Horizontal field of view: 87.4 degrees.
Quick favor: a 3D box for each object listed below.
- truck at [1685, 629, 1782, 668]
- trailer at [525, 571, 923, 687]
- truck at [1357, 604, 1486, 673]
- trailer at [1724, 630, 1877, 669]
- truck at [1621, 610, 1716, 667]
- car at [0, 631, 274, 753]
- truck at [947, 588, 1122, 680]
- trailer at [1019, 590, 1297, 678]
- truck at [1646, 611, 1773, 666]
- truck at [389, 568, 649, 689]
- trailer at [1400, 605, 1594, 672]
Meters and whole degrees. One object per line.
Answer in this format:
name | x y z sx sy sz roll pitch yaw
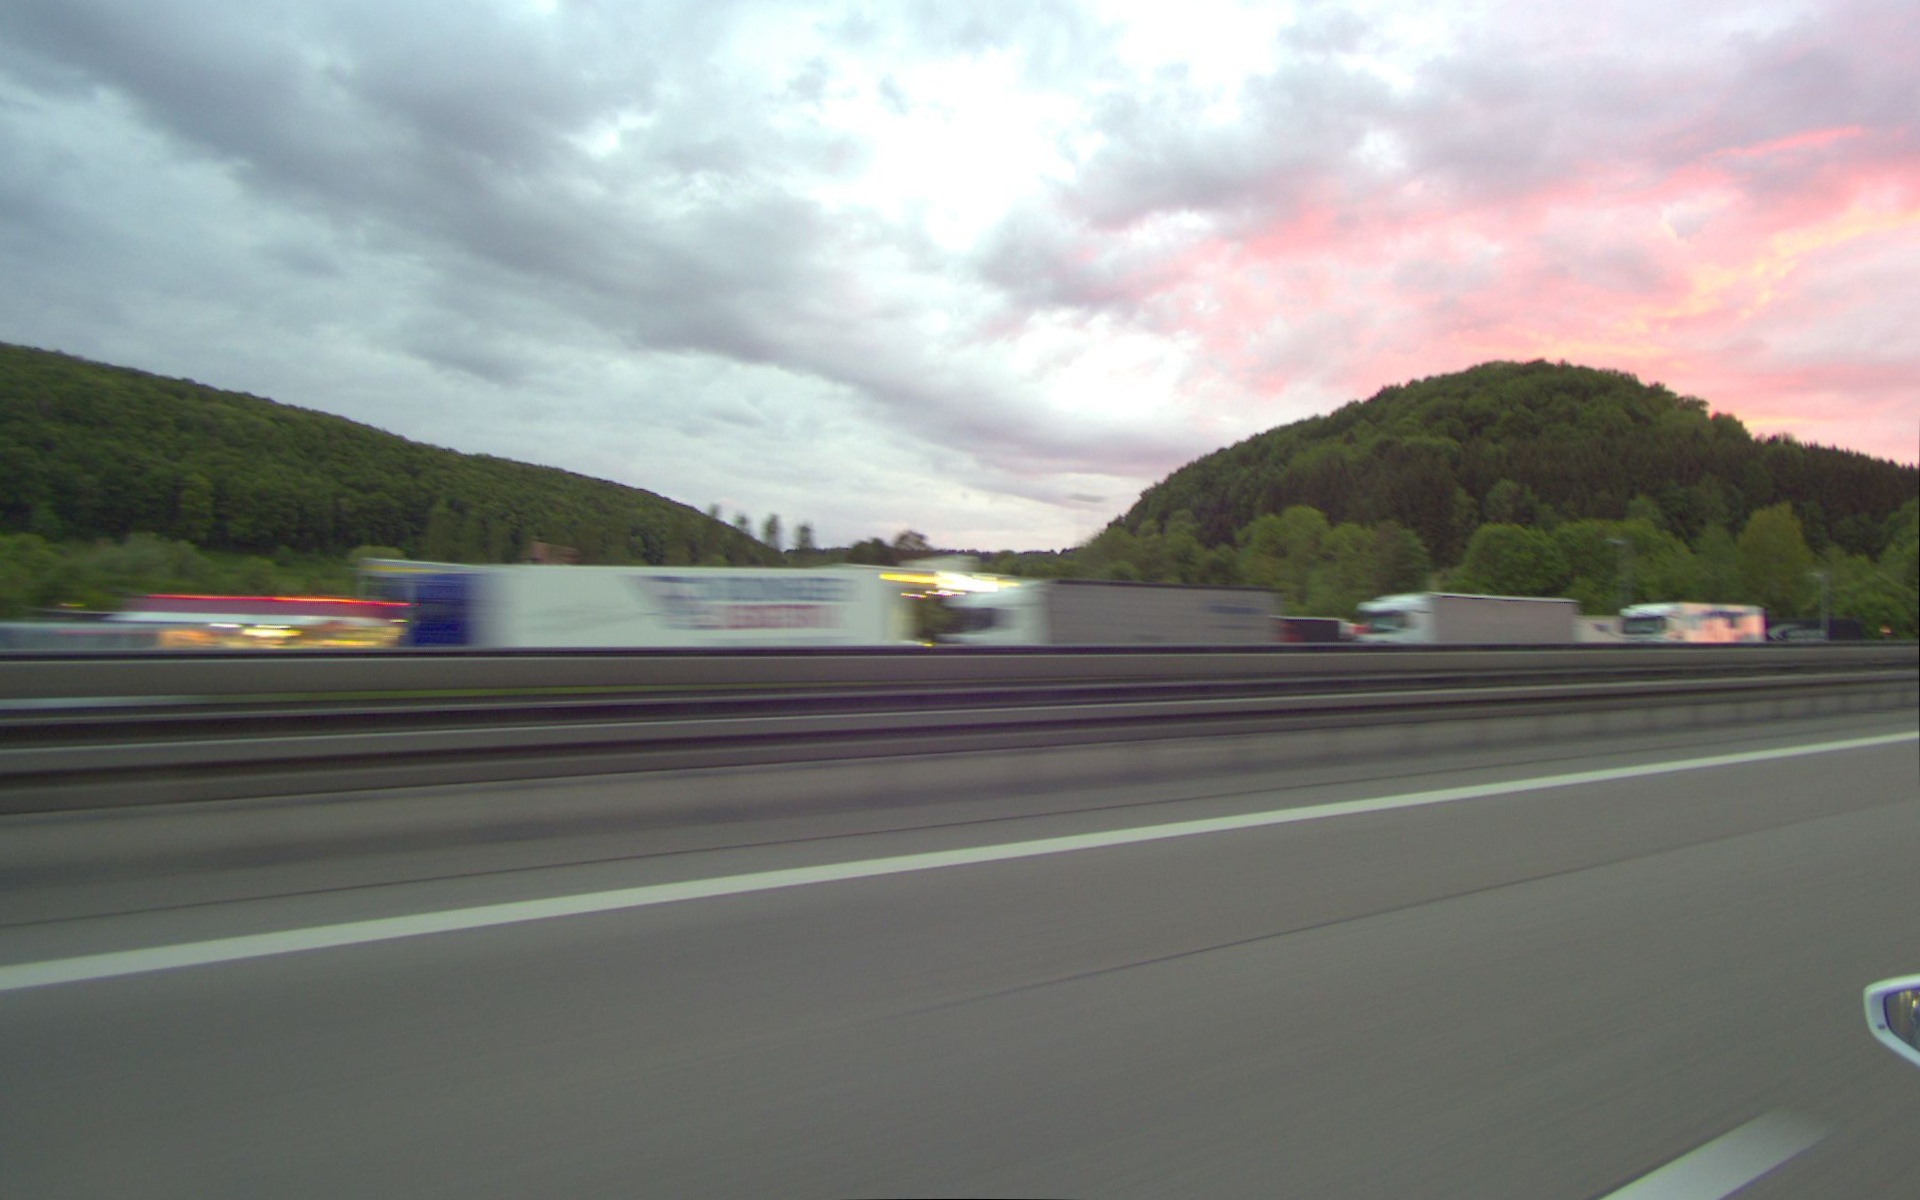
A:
truck | 78.907 4.912 102.544 7.526 3.727 3.014 1 -1 0
trailer | -7.747 1.021 34.576 13.064 3.470 2.861 1 -1 -29
truck | 24.416 2.025 53.082 6.645 3.470 2.861 1 -1 -29
trailer | 85.634 4.978 102.532 13.079 3.727 3.072 1 -1 0
truck | 45.514 2.427 64.458 6.657 3.470 2.855 2 -1 -34
car | -13.046 1.290 14.772 4.684 1.614 1.984 1 -1 -30
truck | 3.053 1.362 40.771 6.646 3.470 2.860 1 -1 -30
trailer | 9.003 1.509 44.193 13.408 3.470 2.860 1 -1 -30
truck | 51.298 2.603 68.489 13.652 3.470 2.855 2 -1 -35
truck | -13.632 0.898 31.254 7.087 3.420 2.861 1 -1 -29
trailer | 30.459 2.174 56.563 13.686 3.470 2.860 1 -1 -30
